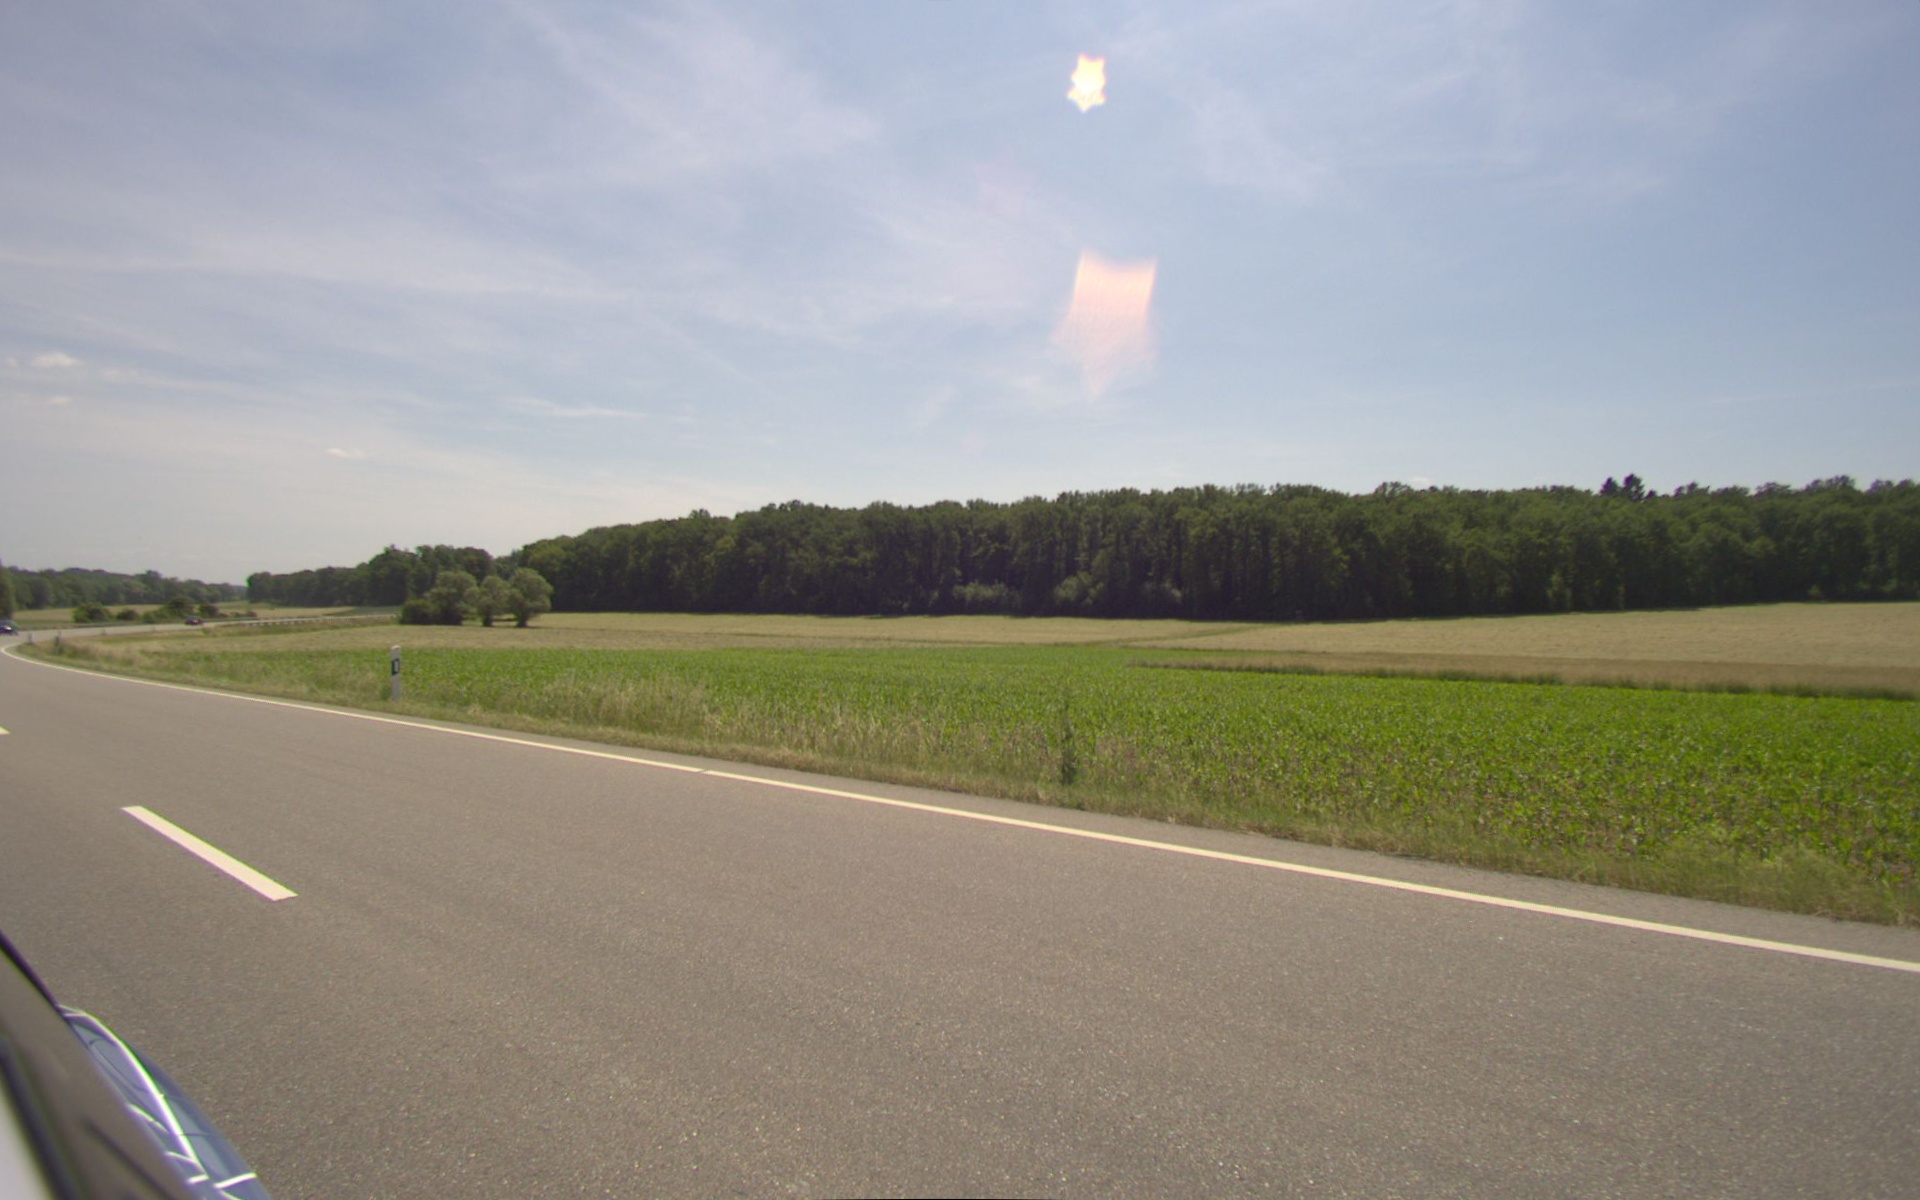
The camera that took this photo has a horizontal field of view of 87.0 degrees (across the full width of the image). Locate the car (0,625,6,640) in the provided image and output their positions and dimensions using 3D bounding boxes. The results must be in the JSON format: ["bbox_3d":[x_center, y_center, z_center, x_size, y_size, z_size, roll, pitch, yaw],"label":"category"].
[{"bbox_3d":[-100.504,3.362,105.242,1.597,1.447,3.449,2,-1,-40],"label":"car"}]
